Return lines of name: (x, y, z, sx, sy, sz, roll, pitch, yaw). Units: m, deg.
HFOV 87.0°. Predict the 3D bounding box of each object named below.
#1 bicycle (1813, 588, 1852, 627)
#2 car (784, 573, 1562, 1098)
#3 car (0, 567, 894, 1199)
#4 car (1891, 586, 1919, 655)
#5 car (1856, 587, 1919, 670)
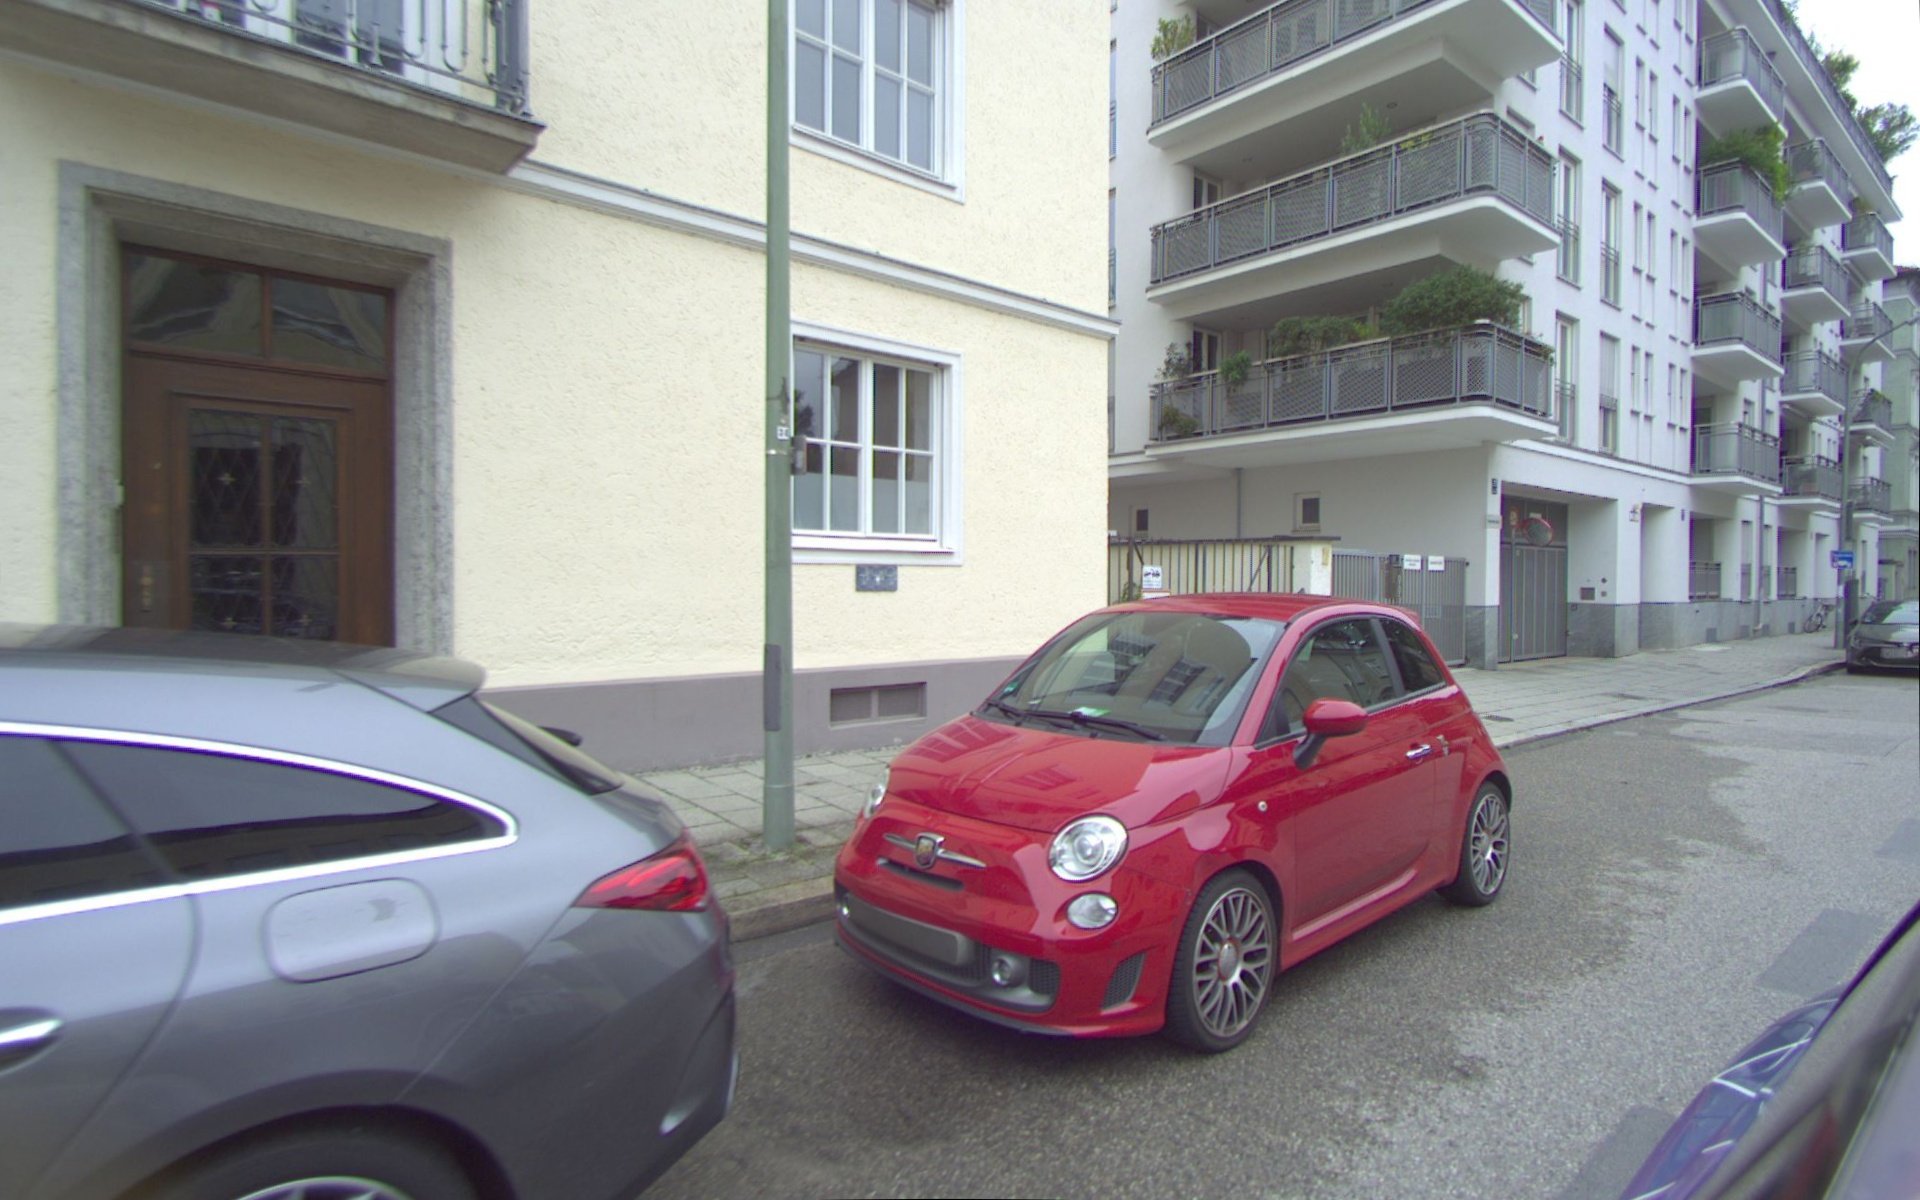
bicycle: (26.894, 0.223, 31.195, 1.778, 1.111, 0.570, -1, 5, -40)
car: (1.215, 0.627, 4.653, 3.692, 1.448, 1.657, -1, 0, -42)
car: (-2.417, 0.689, 1.373, 4.536, 1.448, 1.775, -1, 0, -42)
car: (22.467, 0.426, 22.889, 3.680, 1.485, 1.620, -1, 0, -40)
car: (18.836, 0.498, 19.650, 4.147, 1.494, 1.773, -1, 1, -43)
